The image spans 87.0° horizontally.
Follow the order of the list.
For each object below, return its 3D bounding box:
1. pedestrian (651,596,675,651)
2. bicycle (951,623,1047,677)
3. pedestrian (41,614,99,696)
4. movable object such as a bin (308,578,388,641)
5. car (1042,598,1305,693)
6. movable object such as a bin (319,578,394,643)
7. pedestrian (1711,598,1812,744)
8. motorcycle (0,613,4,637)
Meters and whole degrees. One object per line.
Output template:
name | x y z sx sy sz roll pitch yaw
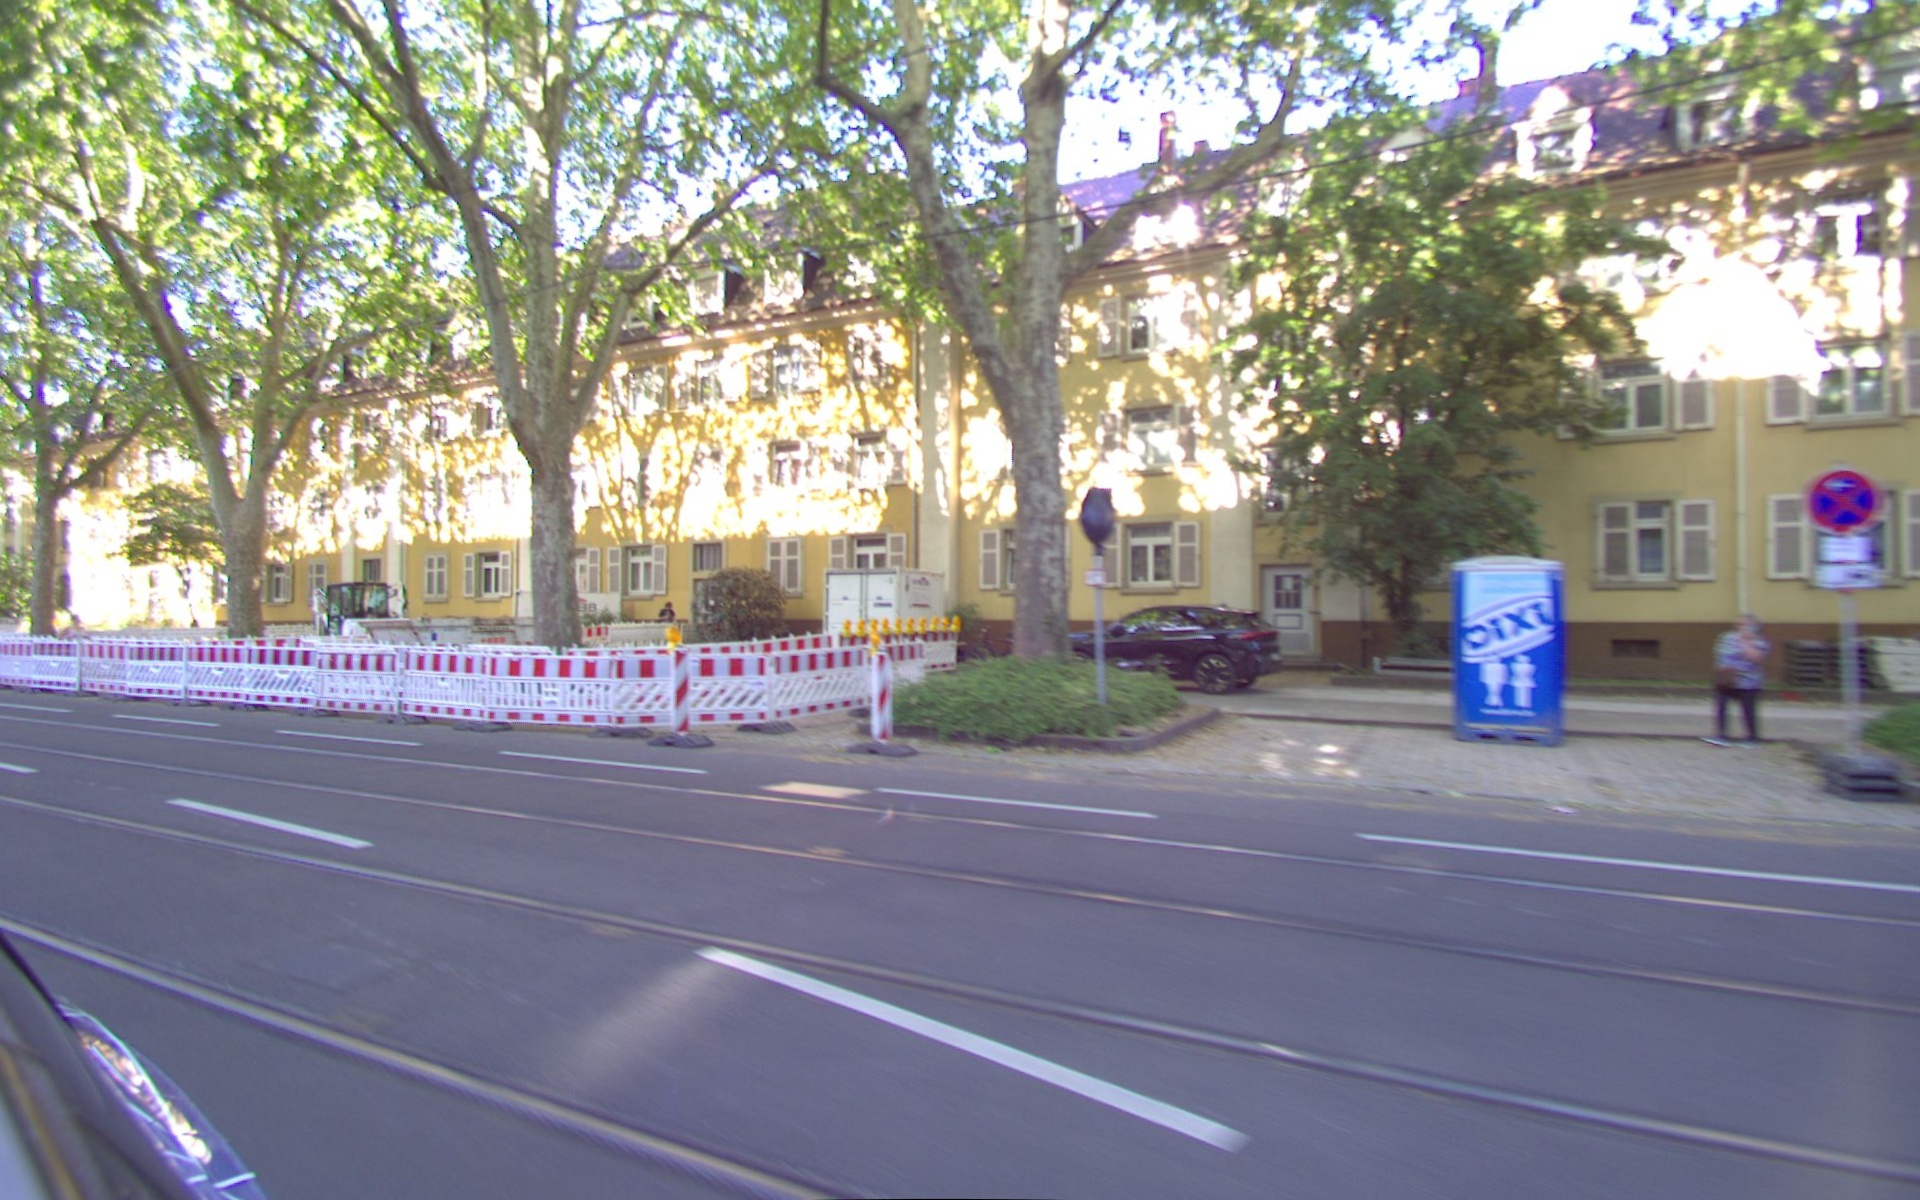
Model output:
pedestrian | -9.002 0.708 30.677 0.660 1.669 0.675 0 -1 -17
bicycle | 0.850 1.090 22.400 2.106 1.149 0.621 -1 -1 32
pedestrian | -18.778 1.143 21.360 0.775 1.682 0.712 0 0 29
movable object such as a bin | -19.106 0.290 31.605 1.998 1.883 1.325 0 0 28
car | 3.958 0.793 19.033 4.507 1.583 1.776 -1 0 33
movable object such as a bin | -15.978 0.279 26.799 1.552 1.658 1.091 0 0 28
pedestrian | 9.416 0.801 11.921 0.887 1.624 0.754 -1 0 36
motorcycle | -52.671 1.351 54.466 0.520 1.250 1.698 -1 -1 29
